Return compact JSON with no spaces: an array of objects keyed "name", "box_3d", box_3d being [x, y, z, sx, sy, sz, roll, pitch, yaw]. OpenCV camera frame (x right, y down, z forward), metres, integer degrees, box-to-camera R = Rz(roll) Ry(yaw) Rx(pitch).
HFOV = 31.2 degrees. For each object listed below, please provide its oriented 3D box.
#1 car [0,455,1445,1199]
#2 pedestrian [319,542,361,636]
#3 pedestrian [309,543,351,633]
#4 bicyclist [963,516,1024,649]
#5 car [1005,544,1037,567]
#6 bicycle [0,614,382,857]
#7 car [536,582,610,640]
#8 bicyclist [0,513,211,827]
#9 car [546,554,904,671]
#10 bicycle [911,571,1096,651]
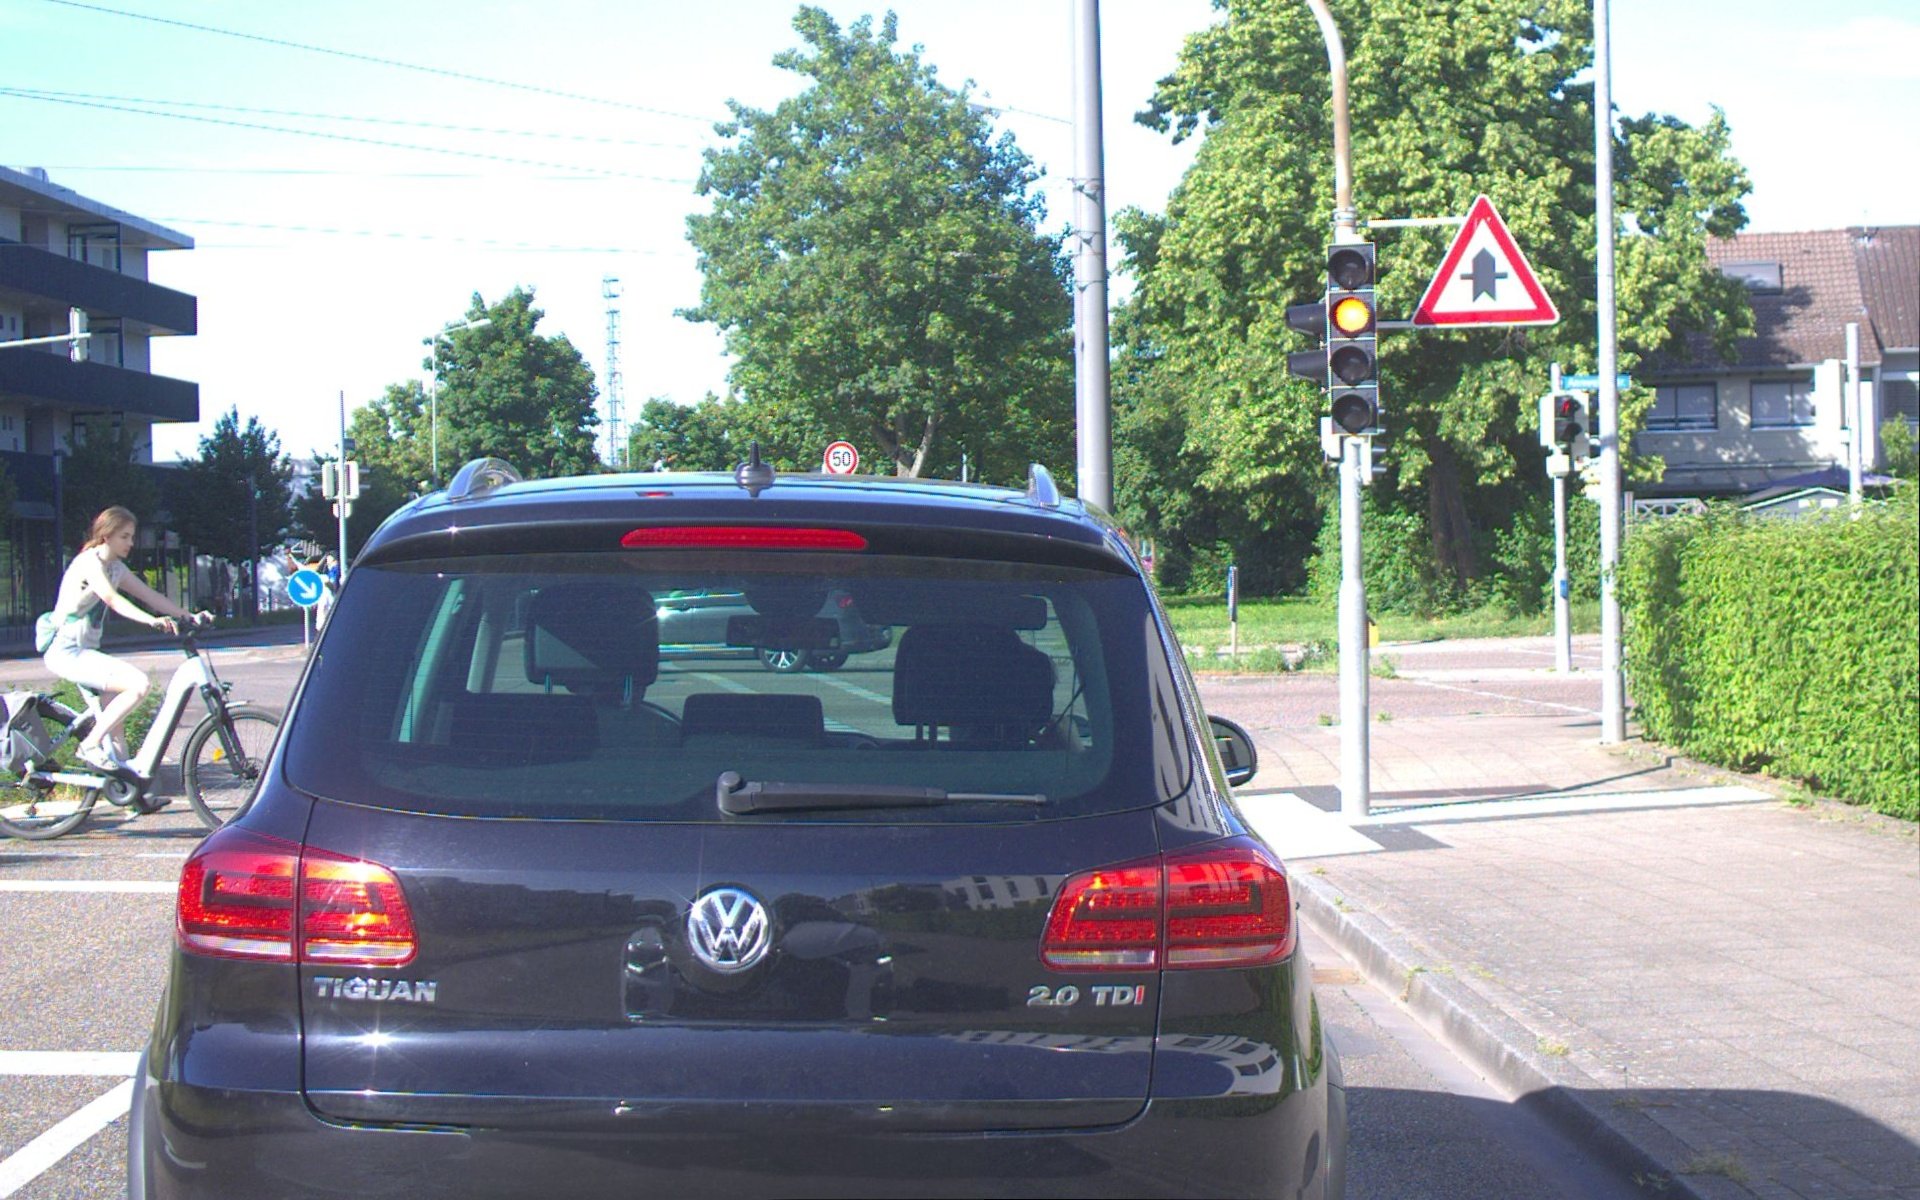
[{"name":"car","box_3d":[-0.388,0.601,6.481,1.905,1.637,4.000,0,1,-2]},{"name":"pedestrian","box_3d":[-10.863,-0.196,60.236,0.603,1.634,0.529,0,1,4]},{"name":"pedestrian","box_3d":[-10.938,-0.213,59.659,0.603,1.559,0.529,0,1,4]},{"name":"bicyclist","box_3d":[0.459,-0.249,47.063,0.803,1.800,0.684,0,1,3]},{"name":"car","box_3d":[3.695,-2.708,209.013,1.751,1.382,4.000,0,1,-2]},{"name":"bicycle","box_3d":[-5.009,0.677,18.287,3.682,1.170,0.999,2,1,-2]},{"name":"car","box_3d":[-11.529,0.315,102.691,1.656,1.634,4.000,0,1,1]},{"name":"bicyclist","box_3d":[-4.545,0.355,18.313,0.909,1.624,0.976,0,1,-1]},{"name":"car","box_3d":[-3.077,0.144,45.641,4.498,1.499,2.000,0,1,4]},{"name":"bicycle","box_3d":[0.604,0.148,47.054,2.504,1.056,0.776,0,1,3]}]
